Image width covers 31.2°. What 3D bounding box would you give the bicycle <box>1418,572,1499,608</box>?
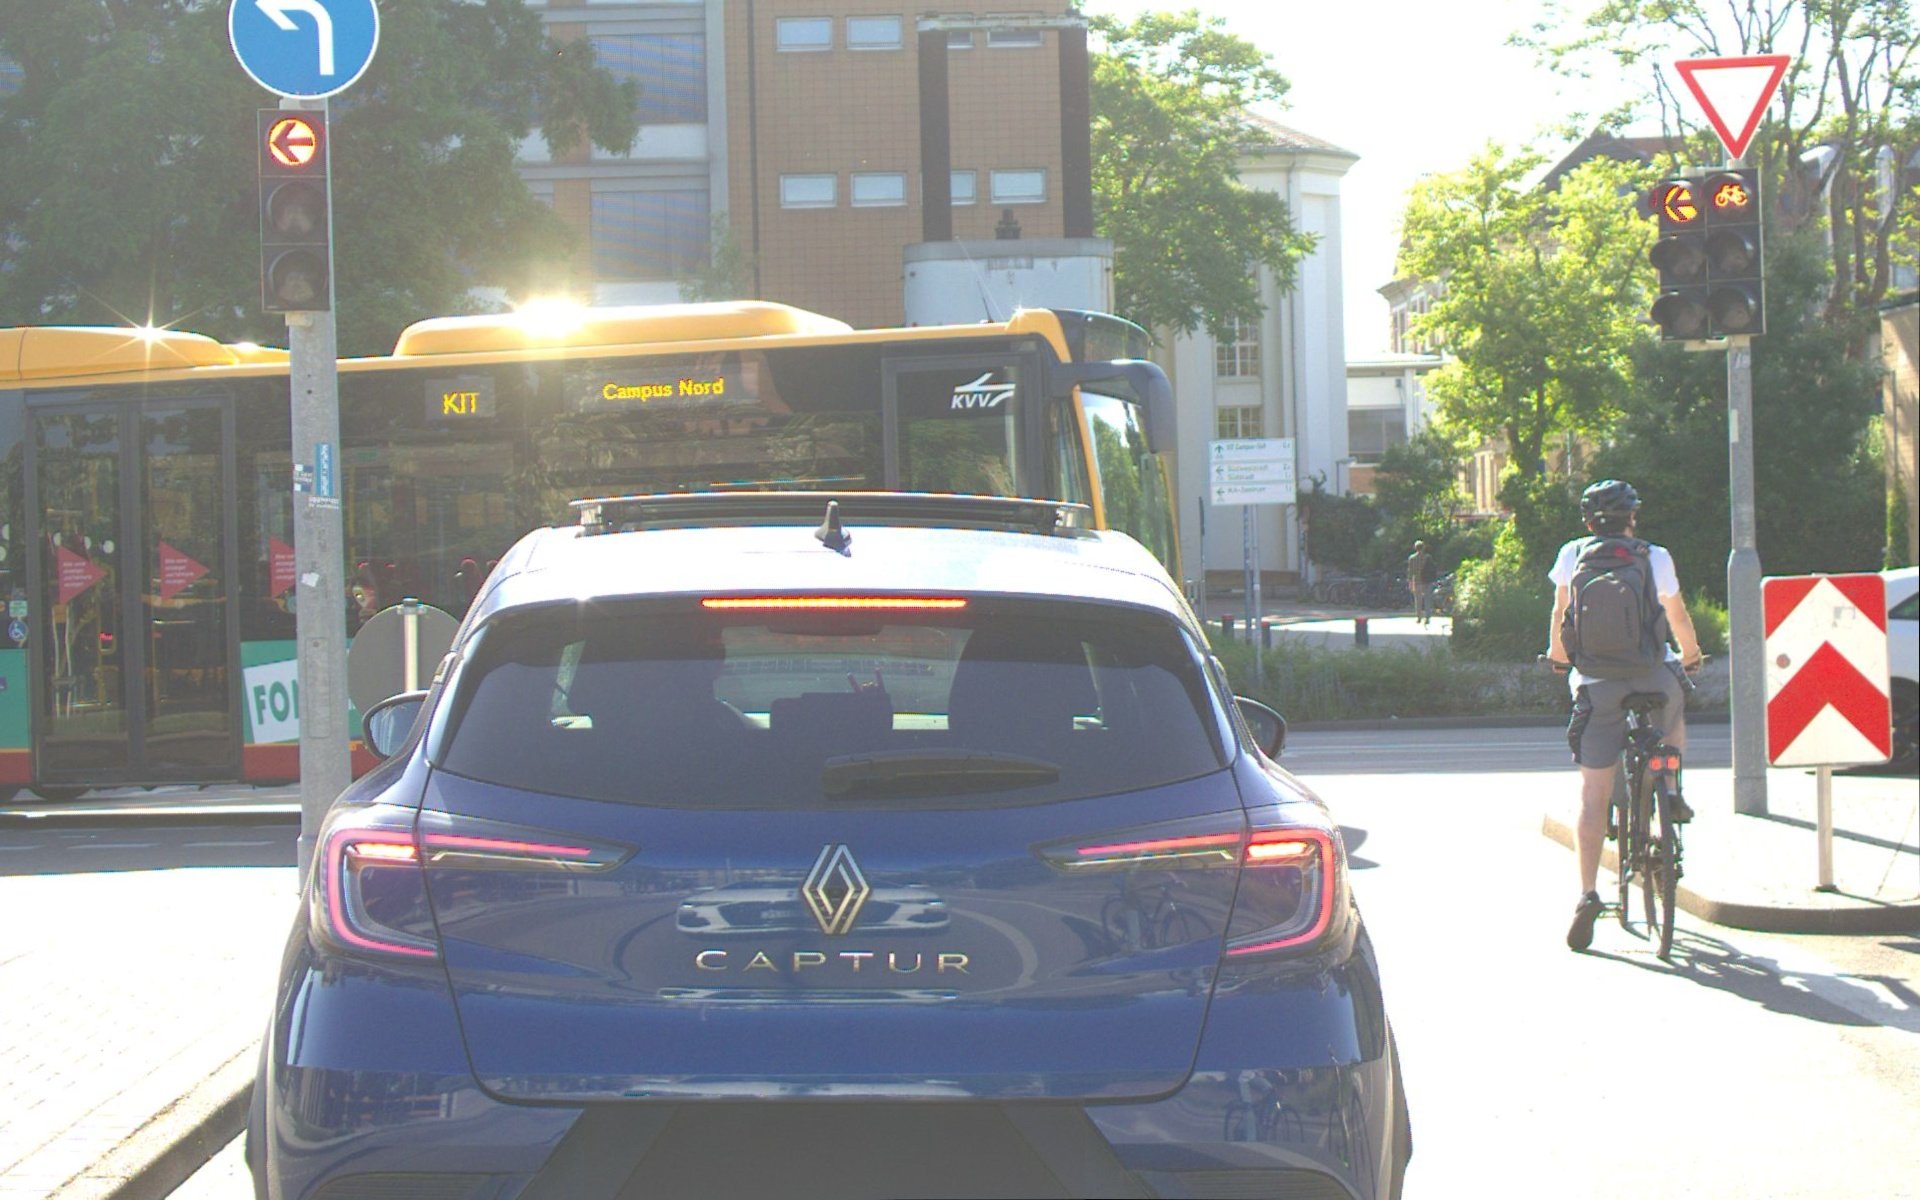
[{"bbox_3d":[12.044,-0.237,83.047,1.770,0.820,0.766,-1,1,-10],"label":"bicycle"}]

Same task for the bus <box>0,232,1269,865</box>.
[{"bbox_3d":[-4.437,-0.221,22.422,12.430,3.558,3.248,-1,1,14],"label":"bus"}]

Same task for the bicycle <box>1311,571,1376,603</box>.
[{"bbox_3d":[11.076,-0.380,99.213,1.771,0.890,0.765,-1,1,0],"label":"bicycle"}]

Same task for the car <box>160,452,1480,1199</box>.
[{"bbox_3d":[-0.242,0.593,6.623,1.794,1.649,3.853,0,1,-2],"label":"car"}]

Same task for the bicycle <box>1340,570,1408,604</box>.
[{"bbox_3d":[11.415,-0.350,94.849,1.771,0.895,0.765,-1,1,0],"label":"bicycle"}]

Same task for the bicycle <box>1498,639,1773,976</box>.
[{"bbox_3d":[2.521,0.740,13.007,0.615,1.134,1.826,0,1,-2],"label":"bicycle"}]

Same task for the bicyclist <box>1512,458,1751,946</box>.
[{"bbox_3d":[2.536,0.372,13.062,0.676,1.779,0.940,1,0,-2],"label":"bicyclist"}]

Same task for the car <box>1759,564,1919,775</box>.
[{"bbox_3d":[7.508,0.428,23.310,3.989,1.369,1.759,-1,1,11],"label":"car"}]

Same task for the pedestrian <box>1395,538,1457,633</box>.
[{"bbox_3d":[10.068,-0.324,74.318,1.156,2.007,1.164,-1,1,0],"label":"pedestrian"}]
